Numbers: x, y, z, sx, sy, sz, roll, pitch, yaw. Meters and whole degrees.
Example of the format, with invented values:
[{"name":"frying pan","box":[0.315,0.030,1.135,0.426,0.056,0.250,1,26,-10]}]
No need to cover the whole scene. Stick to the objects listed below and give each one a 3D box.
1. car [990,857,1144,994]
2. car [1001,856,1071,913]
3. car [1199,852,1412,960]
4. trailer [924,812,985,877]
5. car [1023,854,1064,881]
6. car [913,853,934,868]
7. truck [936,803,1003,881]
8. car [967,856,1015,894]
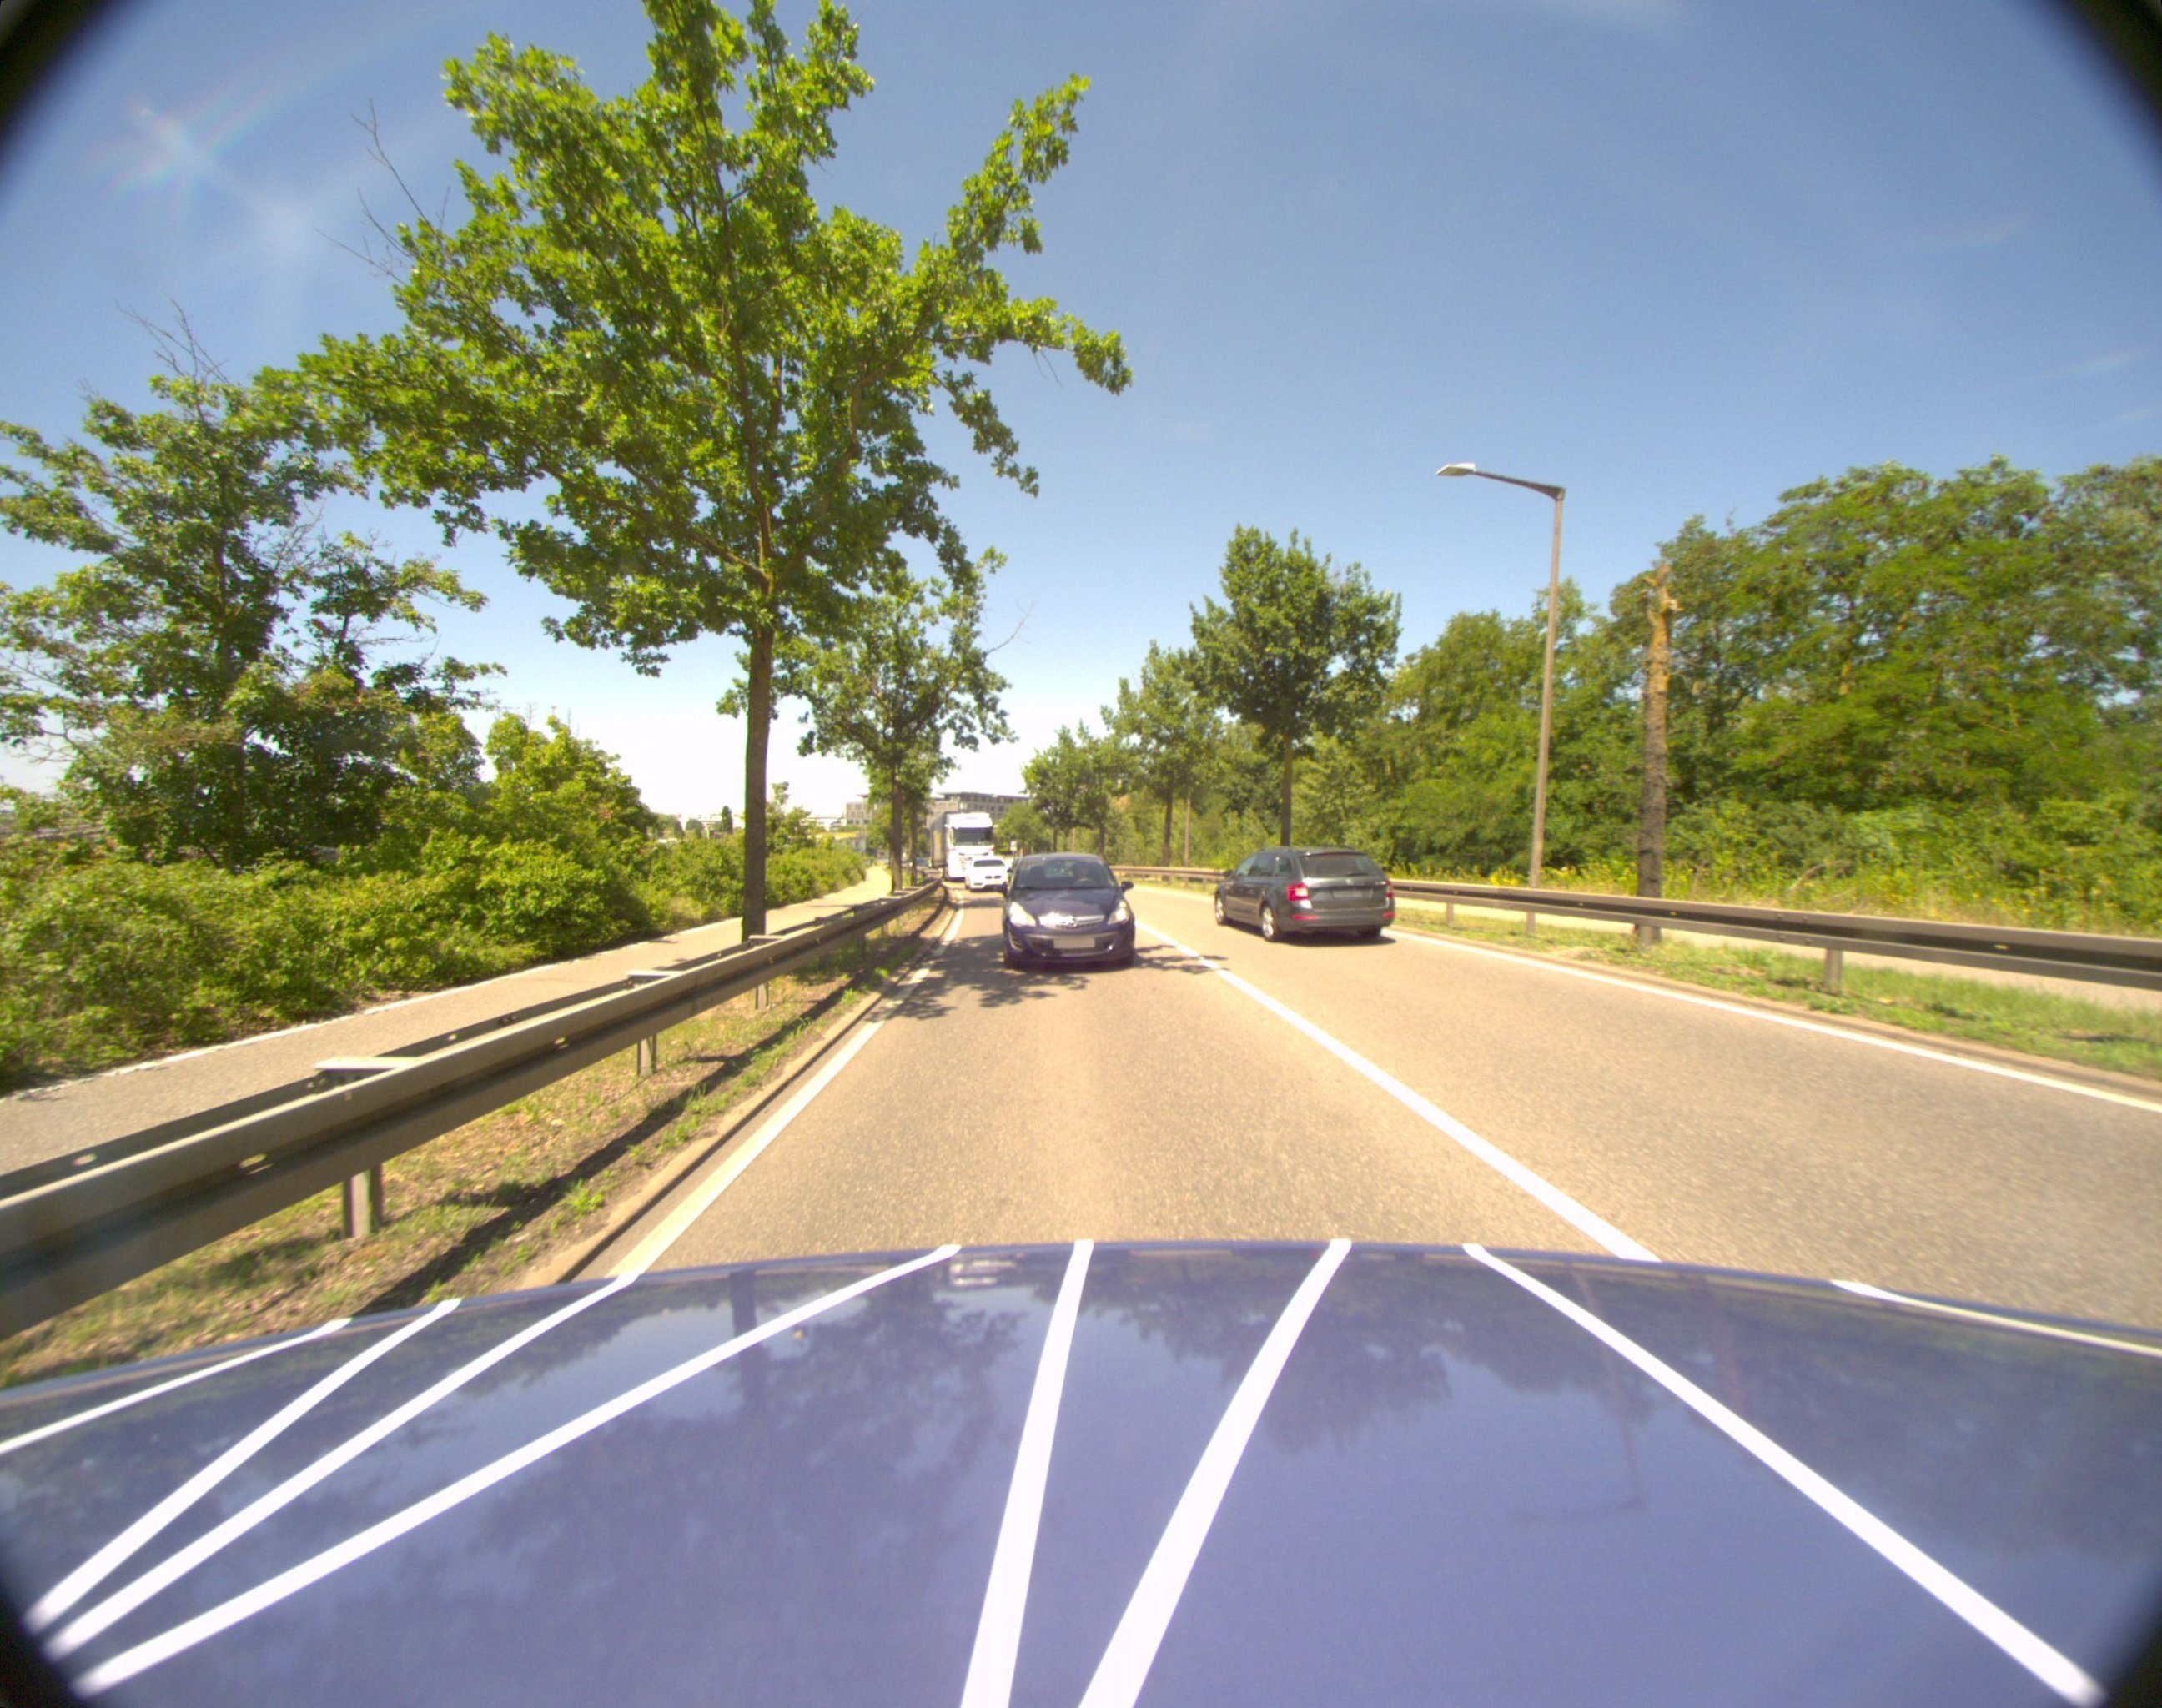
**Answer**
[{"name":"car","box":[-0.308,0.808,10.717,1.699,1.459,4.381,-1,0,-4]},{"name":"car","box":[-1.383,0.802,21.890,1.570,1.408,4.118,-1,0,-9]},{"name":"car","box":[3.464,0.703,12.721,1.750,1.439,4.513,-1,0,-7]},{"name":"trailer","box":[-9.563,-0.644,55.880,2.884,4.189,13.989,-1,0,-15]},{"name":"car","box":[-2.215,0.762,43.853,1.731,1.430,4.019,-2,1,-11]},{"name":"car","box":[-16.725,0.667,80.636,1.977,1.567,3.995,-1,0,-13]},{"name":"truck","box":[-7.001,-0.674,46.400,2.861,4.244,8.803,-2,0,-16]},{"name":"car","box":[-3.778,0.822,31.350,1.818,1.420,3.712,-1,0,-8]}]
